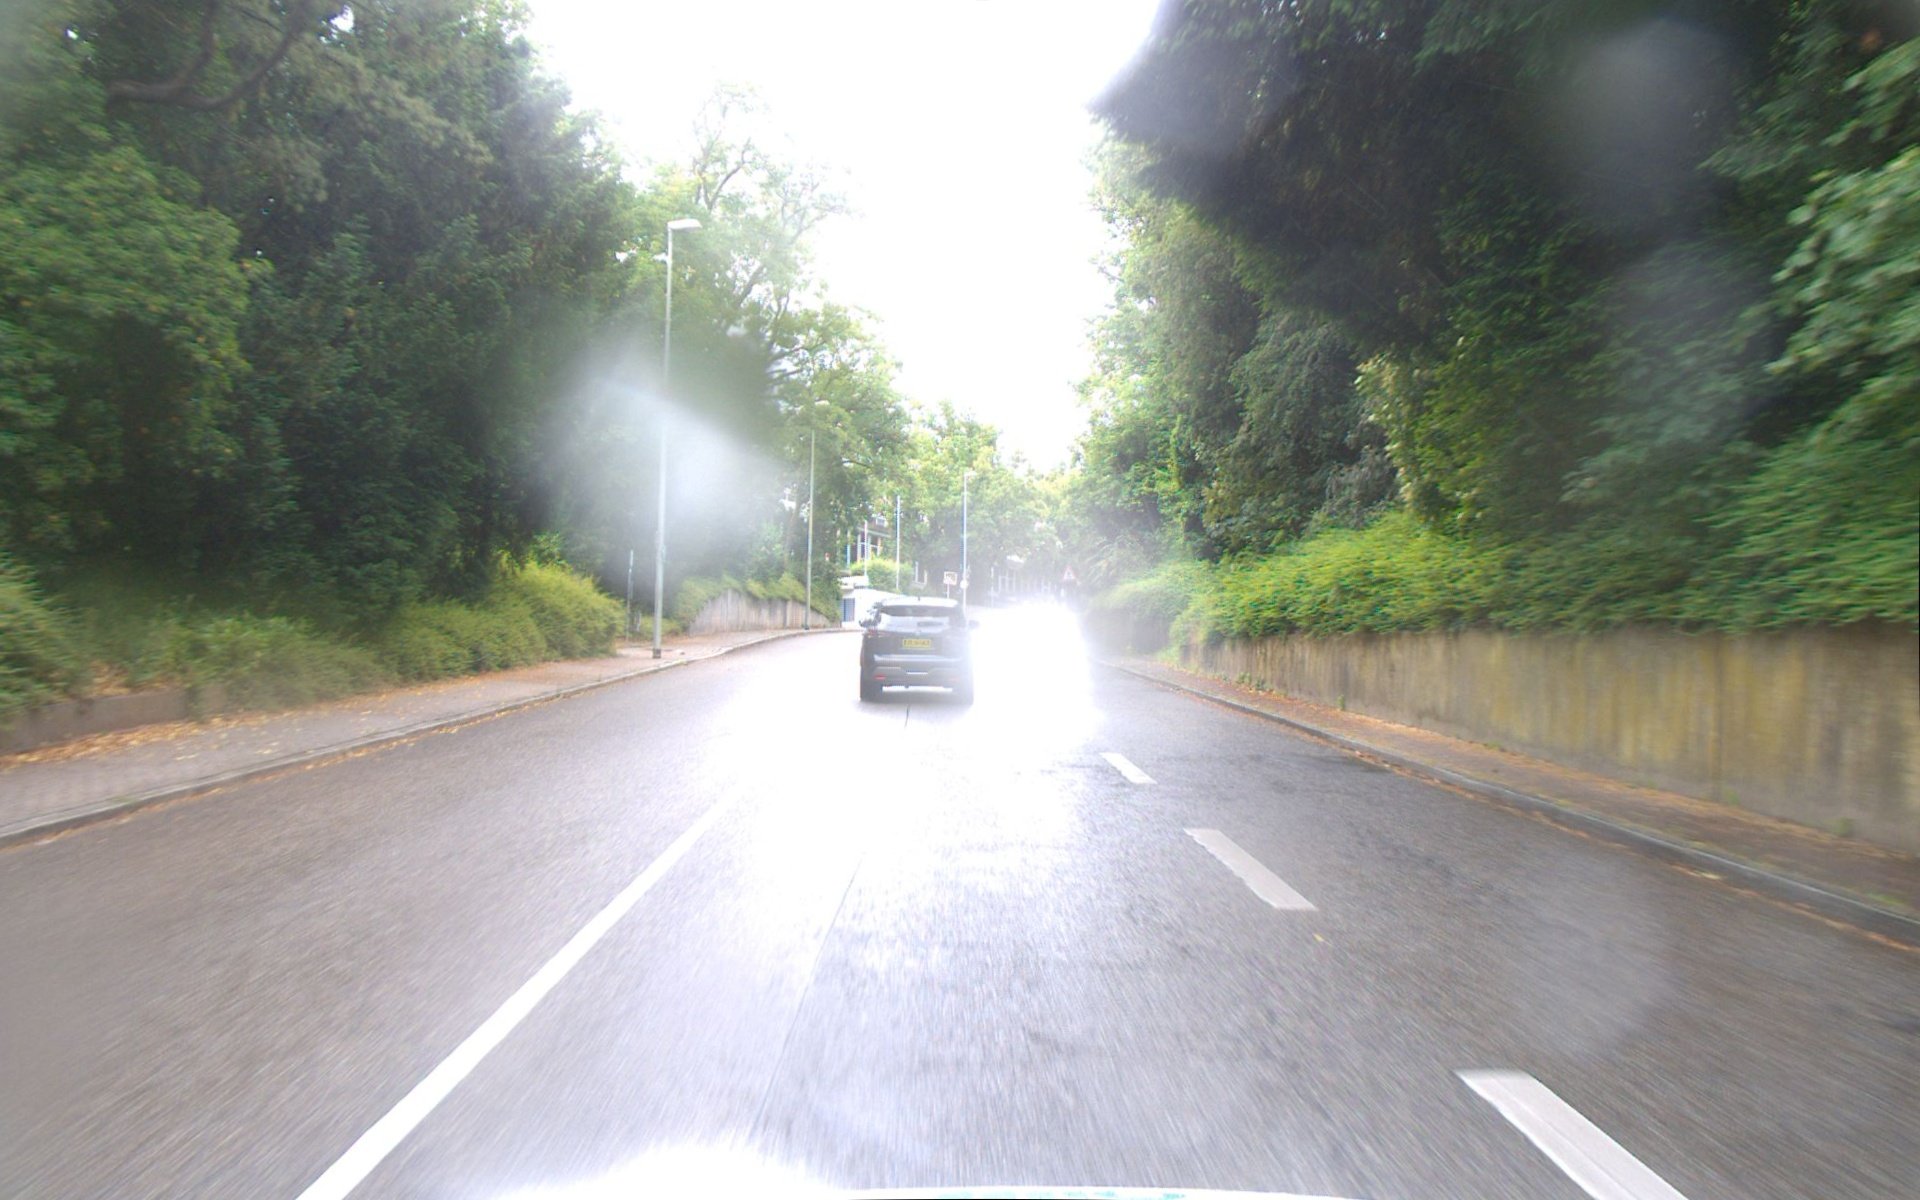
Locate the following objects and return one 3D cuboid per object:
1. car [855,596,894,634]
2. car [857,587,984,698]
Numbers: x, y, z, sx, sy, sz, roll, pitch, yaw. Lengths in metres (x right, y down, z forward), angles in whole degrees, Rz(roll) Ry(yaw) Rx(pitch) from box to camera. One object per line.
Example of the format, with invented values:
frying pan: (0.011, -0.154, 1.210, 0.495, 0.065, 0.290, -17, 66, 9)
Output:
car: (-4.135, 0.733, 80.405, 1.794, 1.741, 3.998, 1, 0, -2)
car: (-0.628, 0.645, 26.892, 1.889, 1.641, 3.999, 1, 0, -1)
